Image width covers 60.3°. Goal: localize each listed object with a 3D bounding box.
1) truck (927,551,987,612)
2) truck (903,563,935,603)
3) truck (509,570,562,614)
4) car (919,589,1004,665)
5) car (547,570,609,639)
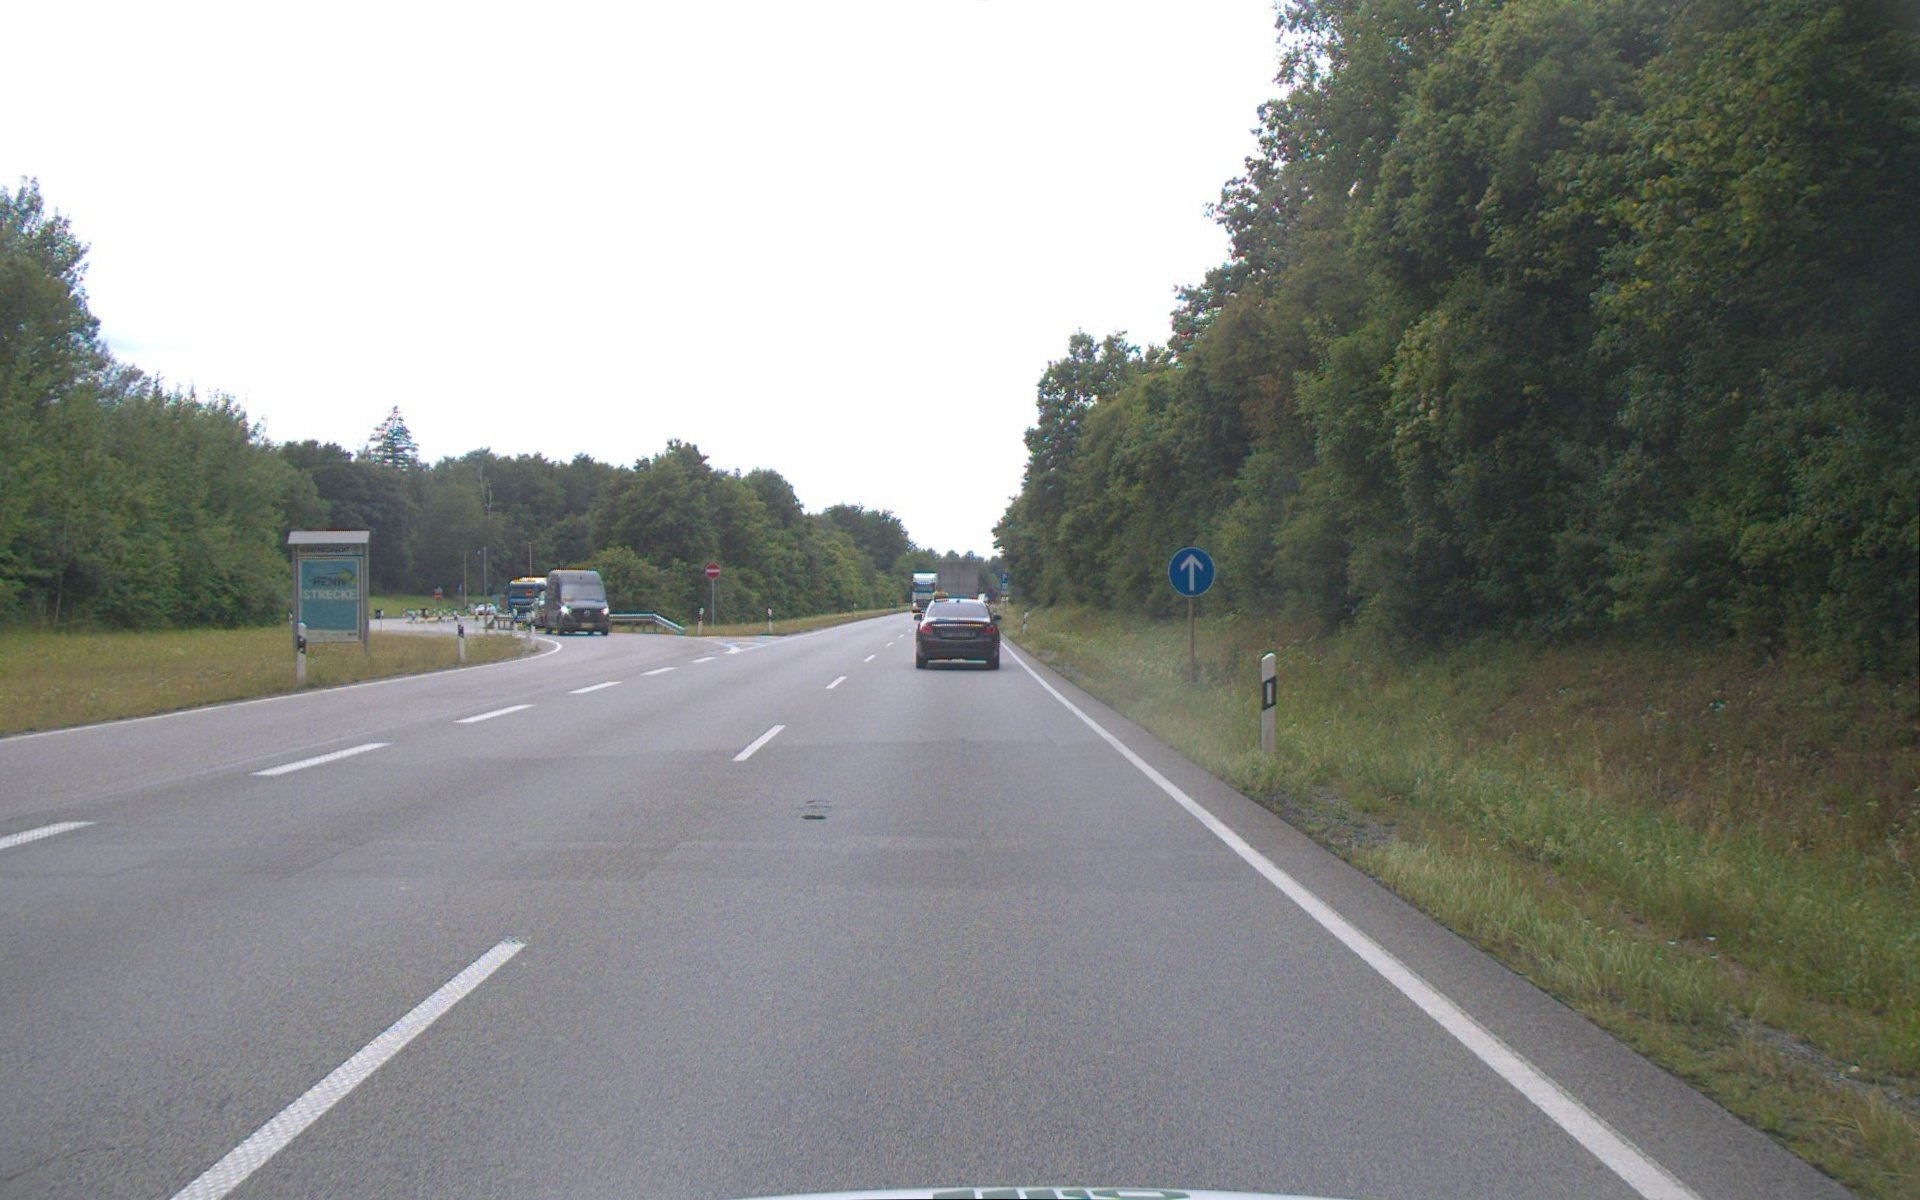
[{"bbox_3d":[-0.075,-1.085,106.116,3.212,3.675,11.403,1,0,3],"label":"truck"},{"bbox_3d":[-4.377,-1.802,177.892,3.124,4.133,9.575,1,0,0],"label":"truck"},{"bbox_3d":[-30.776,-0.543,120.100,1.953,3.065,7.226,1,0,0],"label":"truck"},{"bbox_3d":[-0.005,0.570,36.432,1.755,1.579,3.999,1,0,-1],"label":"car"},{"bbox_3d":[-15.511,0.187,67.393,2.216,2.574,7.142,-2,0,-12],"label":"car"}]
